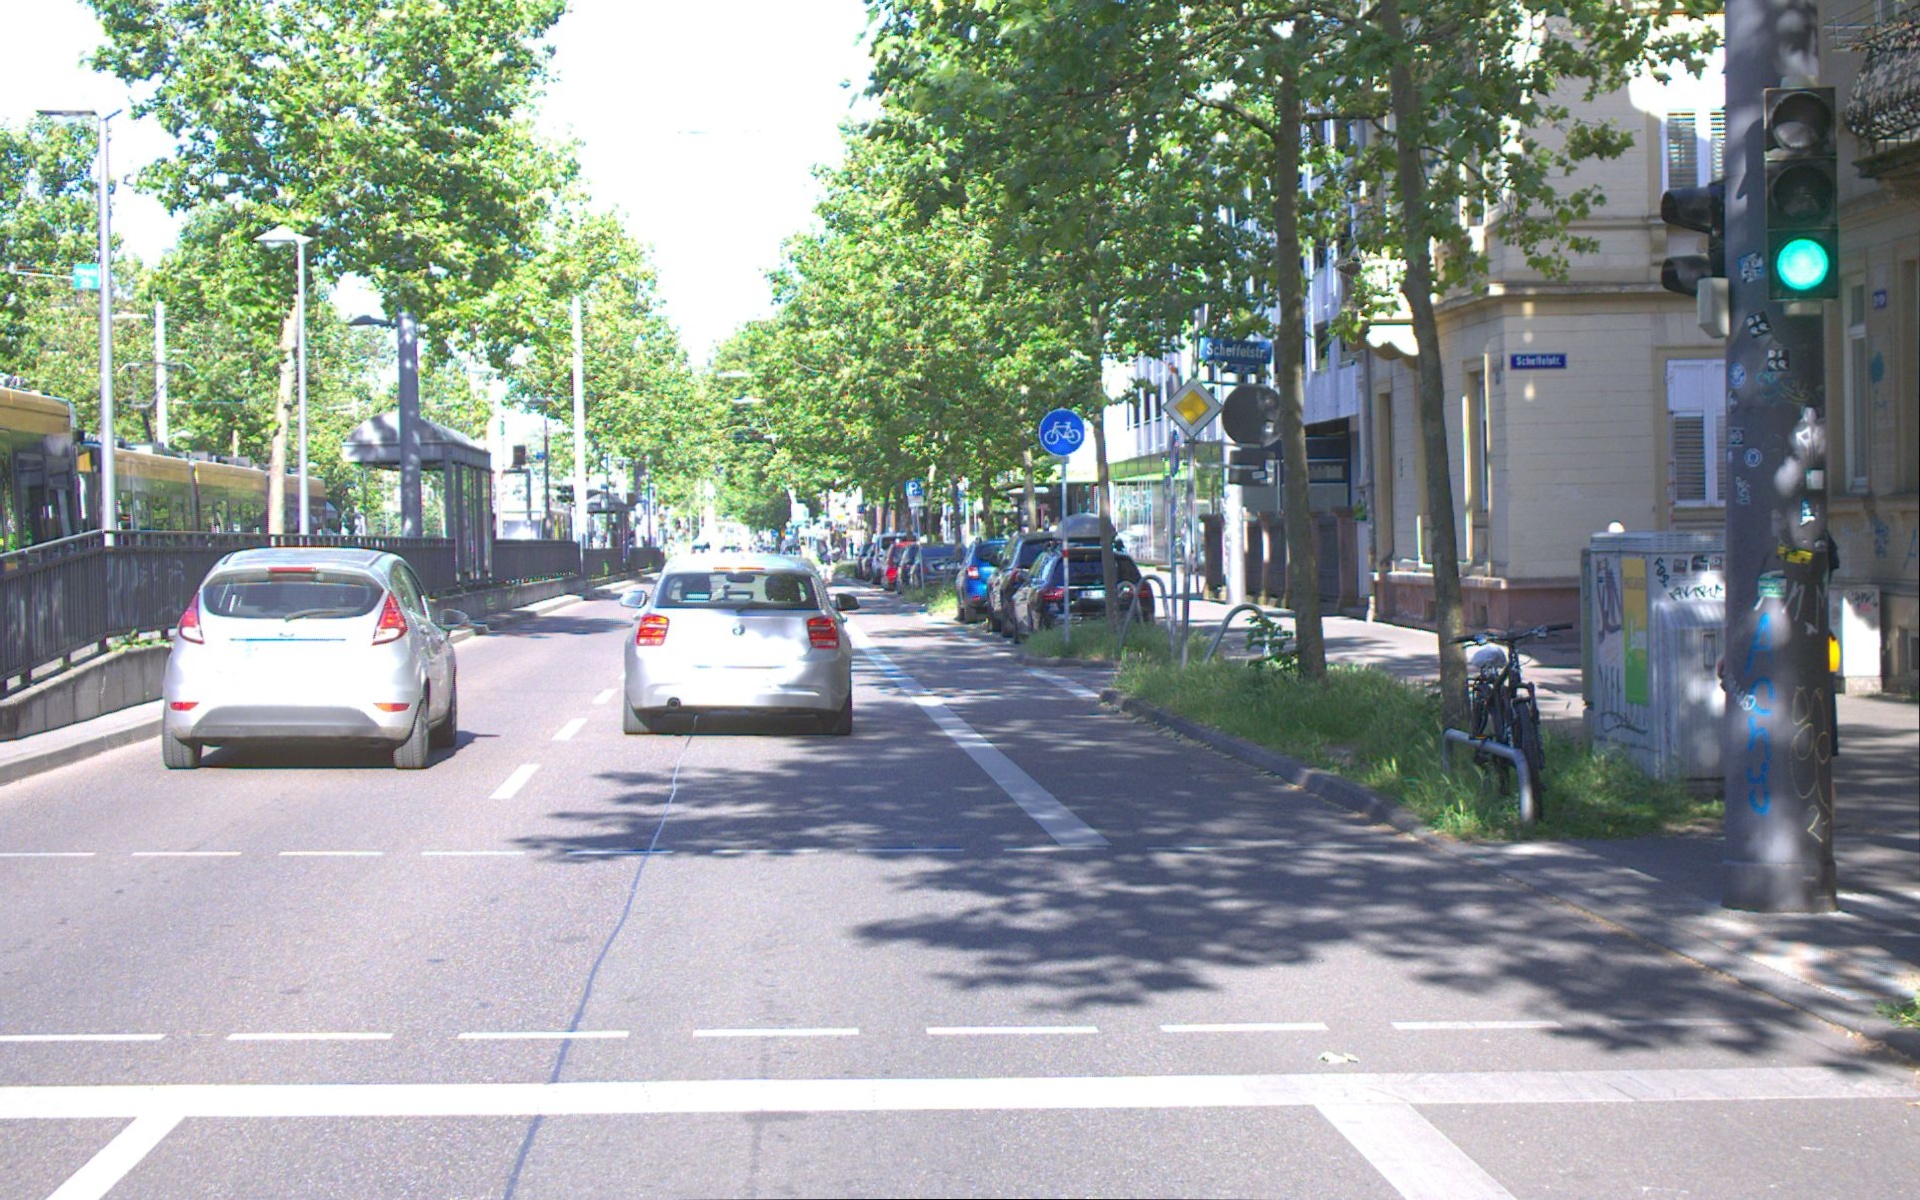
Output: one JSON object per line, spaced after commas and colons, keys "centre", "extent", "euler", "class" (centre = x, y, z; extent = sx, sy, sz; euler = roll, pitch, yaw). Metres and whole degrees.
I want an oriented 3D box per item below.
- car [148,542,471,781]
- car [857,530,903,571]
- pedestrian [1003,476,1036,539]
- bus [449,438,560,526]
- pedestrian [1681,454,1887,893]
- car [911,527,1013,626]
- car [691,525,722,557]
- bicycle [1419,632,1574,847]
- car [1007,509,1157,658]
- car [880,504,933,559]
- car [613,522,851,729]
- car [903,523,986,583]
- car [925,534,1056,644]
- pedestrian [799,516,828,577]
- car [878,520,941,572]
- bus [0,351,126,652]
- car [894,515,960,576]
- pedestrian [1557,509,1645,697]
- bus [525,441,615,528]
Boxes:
{"centre": [-4.355, 0.355, 23.479], "extent": [1.646, 1.358, 3.761], "euler": [1, 3, -3], "class": "car"}
{"centre": [-3.244, -2.012, 138.917], "extent": [1.700, 1.528, 3.717], "euler": [1, 3, -3], "class": "car"}
{"centre": [1.910, -2.970, 110.213], "extent": [0.963, 2.007, 0.939], "euler": [-1, 1, -3], "class": "pedestrian"}
{"centre": [-20.355, -5.474, 155.128], "extent": [2.869, 3.615, 24.609], "euler": [-1, 3, -3], "class": "bus"}
{"centre": [3.425, 0.280, 14.348], "extent": [0.642, 1.765, 0.868], "euler": [1, 3, 3], "class": "pedestrian"}
{"centre": [0.003, -0.472, 65.438], "extent": [1.691, 1.652, 4.040], "euler": [-1, 3, -3], "class": "car"}
{"centre": [-17.070, -3.976, 231.605], "extent": [1.993, 2.006, 4.001], "euler": [1, 3, -3], "class": "car"}
{"centre": [2.796, 0.706, 18.045], "extent": [0.428, 0.967, 1.751], "euler": [1, 3, -3], "class": "bicycle"}
{"centre": [1.728, -0.291, 50.219], "extent": [1.754, 1.958, 4.738], "euler": [0, 3, -3], "class": "car"}
{"centre": [-1.938, -2.464, 122.717], "extent": [1.724, 1.874, 4.001], "euler": [1, 2, -3], "class": "car"}
{"centre": [-1.848, 0.150, 27.877], "extent": [1.762, 1.427, 4.001], "euler": [1, 3, -4], "class": "car"}
{"centre": [-0.449, -1.285, 91.818], "extent": [1.993, 1.504, 4.598], "euler": [1, 2, -3], "class": "car"}
{"centre": [0.454, -0.215, 56.036], "extent": [1.798, 1.694, 4.738], "euler": [-1, 1, -3], "class": "car"}
{"centre": [-4.855, -1.778, 113.870], "extent": [0.838, 2.006, 0.648], "euler": [1, 3, 4], "class": "pedestrian"}
{"centre": [-1.583, -1.703, 107.123], "extent": [1.806, 1.515, 4.001], "euler": [1, 2, -3], "class": "car"}
{"centre": [-12.450, -1.126, 40.547], "extent": [2.869, 3.432, 11.612], "euler": [-1, 1, -3], "class": "bus"}
{"centre": [-0.950, -1.561, 96.901], "extent": [1.669, 1.546, 4.001], "euler": [1, 3, -3], "class": "car"}
{"centre": [6.381, 0.018, 34.268], "extent": [0.564, 1.820, 0.959], "euler": [1, 3, -6], "class": "pedestrian"}
{"centre": [-17.255, -5.268, 153.157], "extent": [2.749, 3.613, 18.852], "euler": [-1, 3, -3], "class": "bus"}
